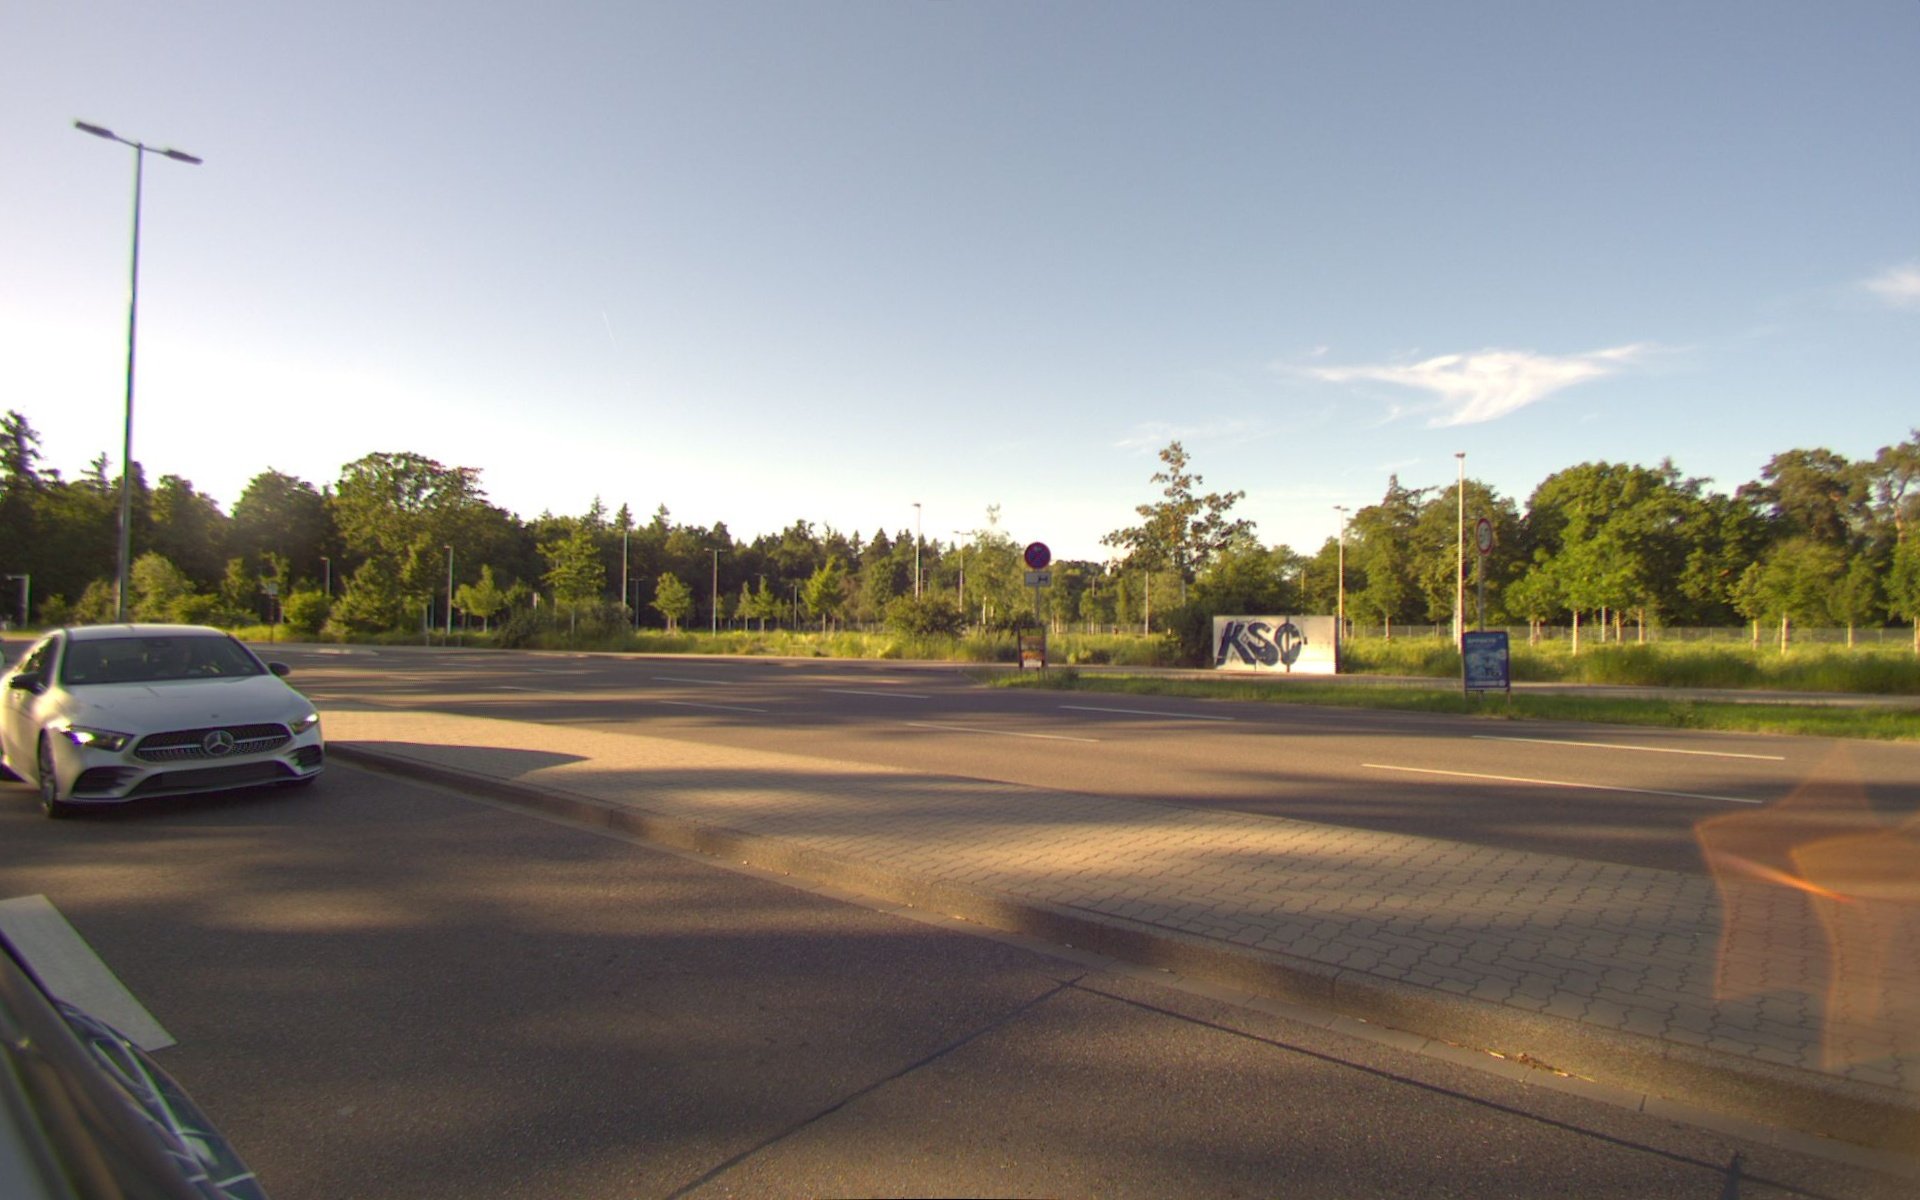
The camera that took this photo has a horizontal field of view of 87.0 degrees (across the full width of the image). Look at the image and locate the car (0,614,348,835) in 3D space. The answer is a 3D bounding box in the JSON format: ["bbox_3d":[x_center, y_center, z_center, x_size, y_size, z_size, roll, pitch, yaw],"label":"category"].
[{"bbox_3d":[-7.175,0.909,8.878,4.273,1.455,1.767,-2,-1,39],"label":"car"}]
